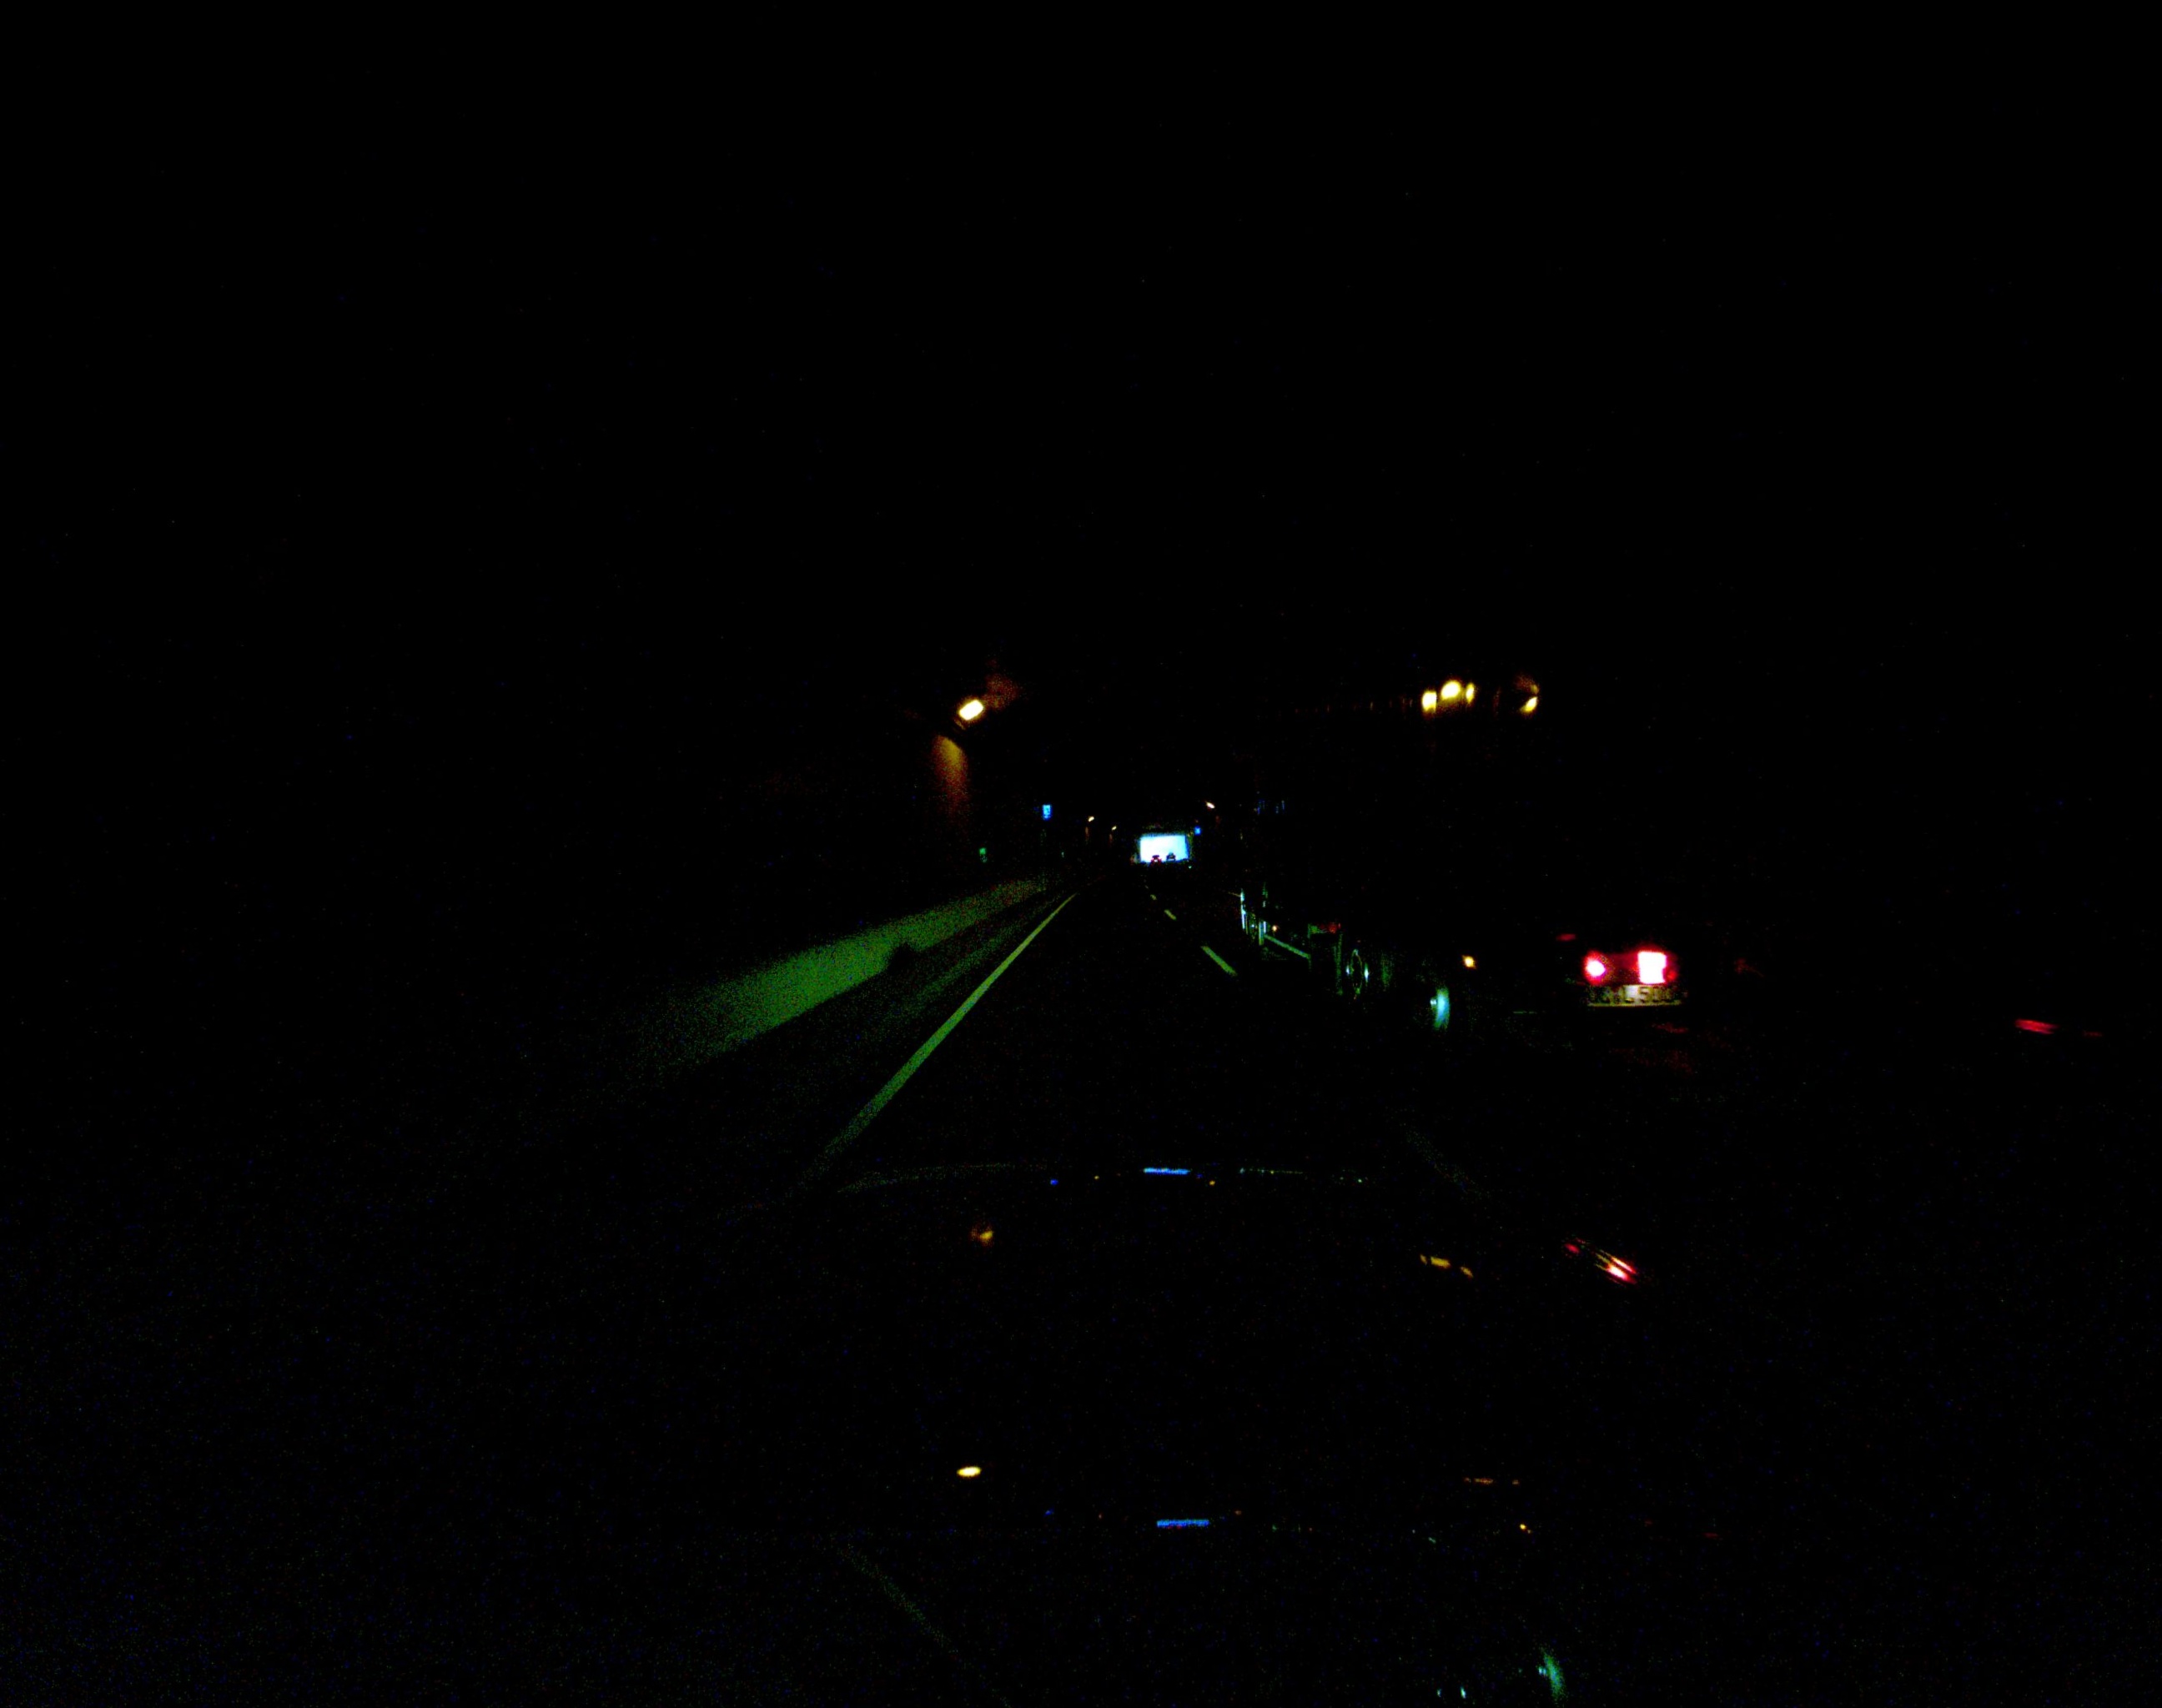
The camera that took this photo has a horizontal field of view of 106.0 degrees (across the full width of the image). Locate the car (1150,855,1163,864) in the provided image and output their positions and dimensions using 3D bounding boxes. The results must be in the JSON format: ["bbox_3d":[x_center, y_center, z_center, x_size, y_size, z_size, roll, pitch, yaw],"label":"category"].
[{"bbox_3d":[12.249,0.875,132.046,1.830,1.388,4.011,-2,-1,10],"label":"car"}]

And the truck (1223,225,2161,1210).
[{"bbox_3d":[3.658,-0.556,8.238,2.878,3.913,9.912,-1,0,2],"label":"truck"}]

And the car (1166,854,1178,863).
[{"bbox_3d":[16.846,0.851,150.785,1.861,1.732,4.003,-2,-1,3],"label":"car"}]
